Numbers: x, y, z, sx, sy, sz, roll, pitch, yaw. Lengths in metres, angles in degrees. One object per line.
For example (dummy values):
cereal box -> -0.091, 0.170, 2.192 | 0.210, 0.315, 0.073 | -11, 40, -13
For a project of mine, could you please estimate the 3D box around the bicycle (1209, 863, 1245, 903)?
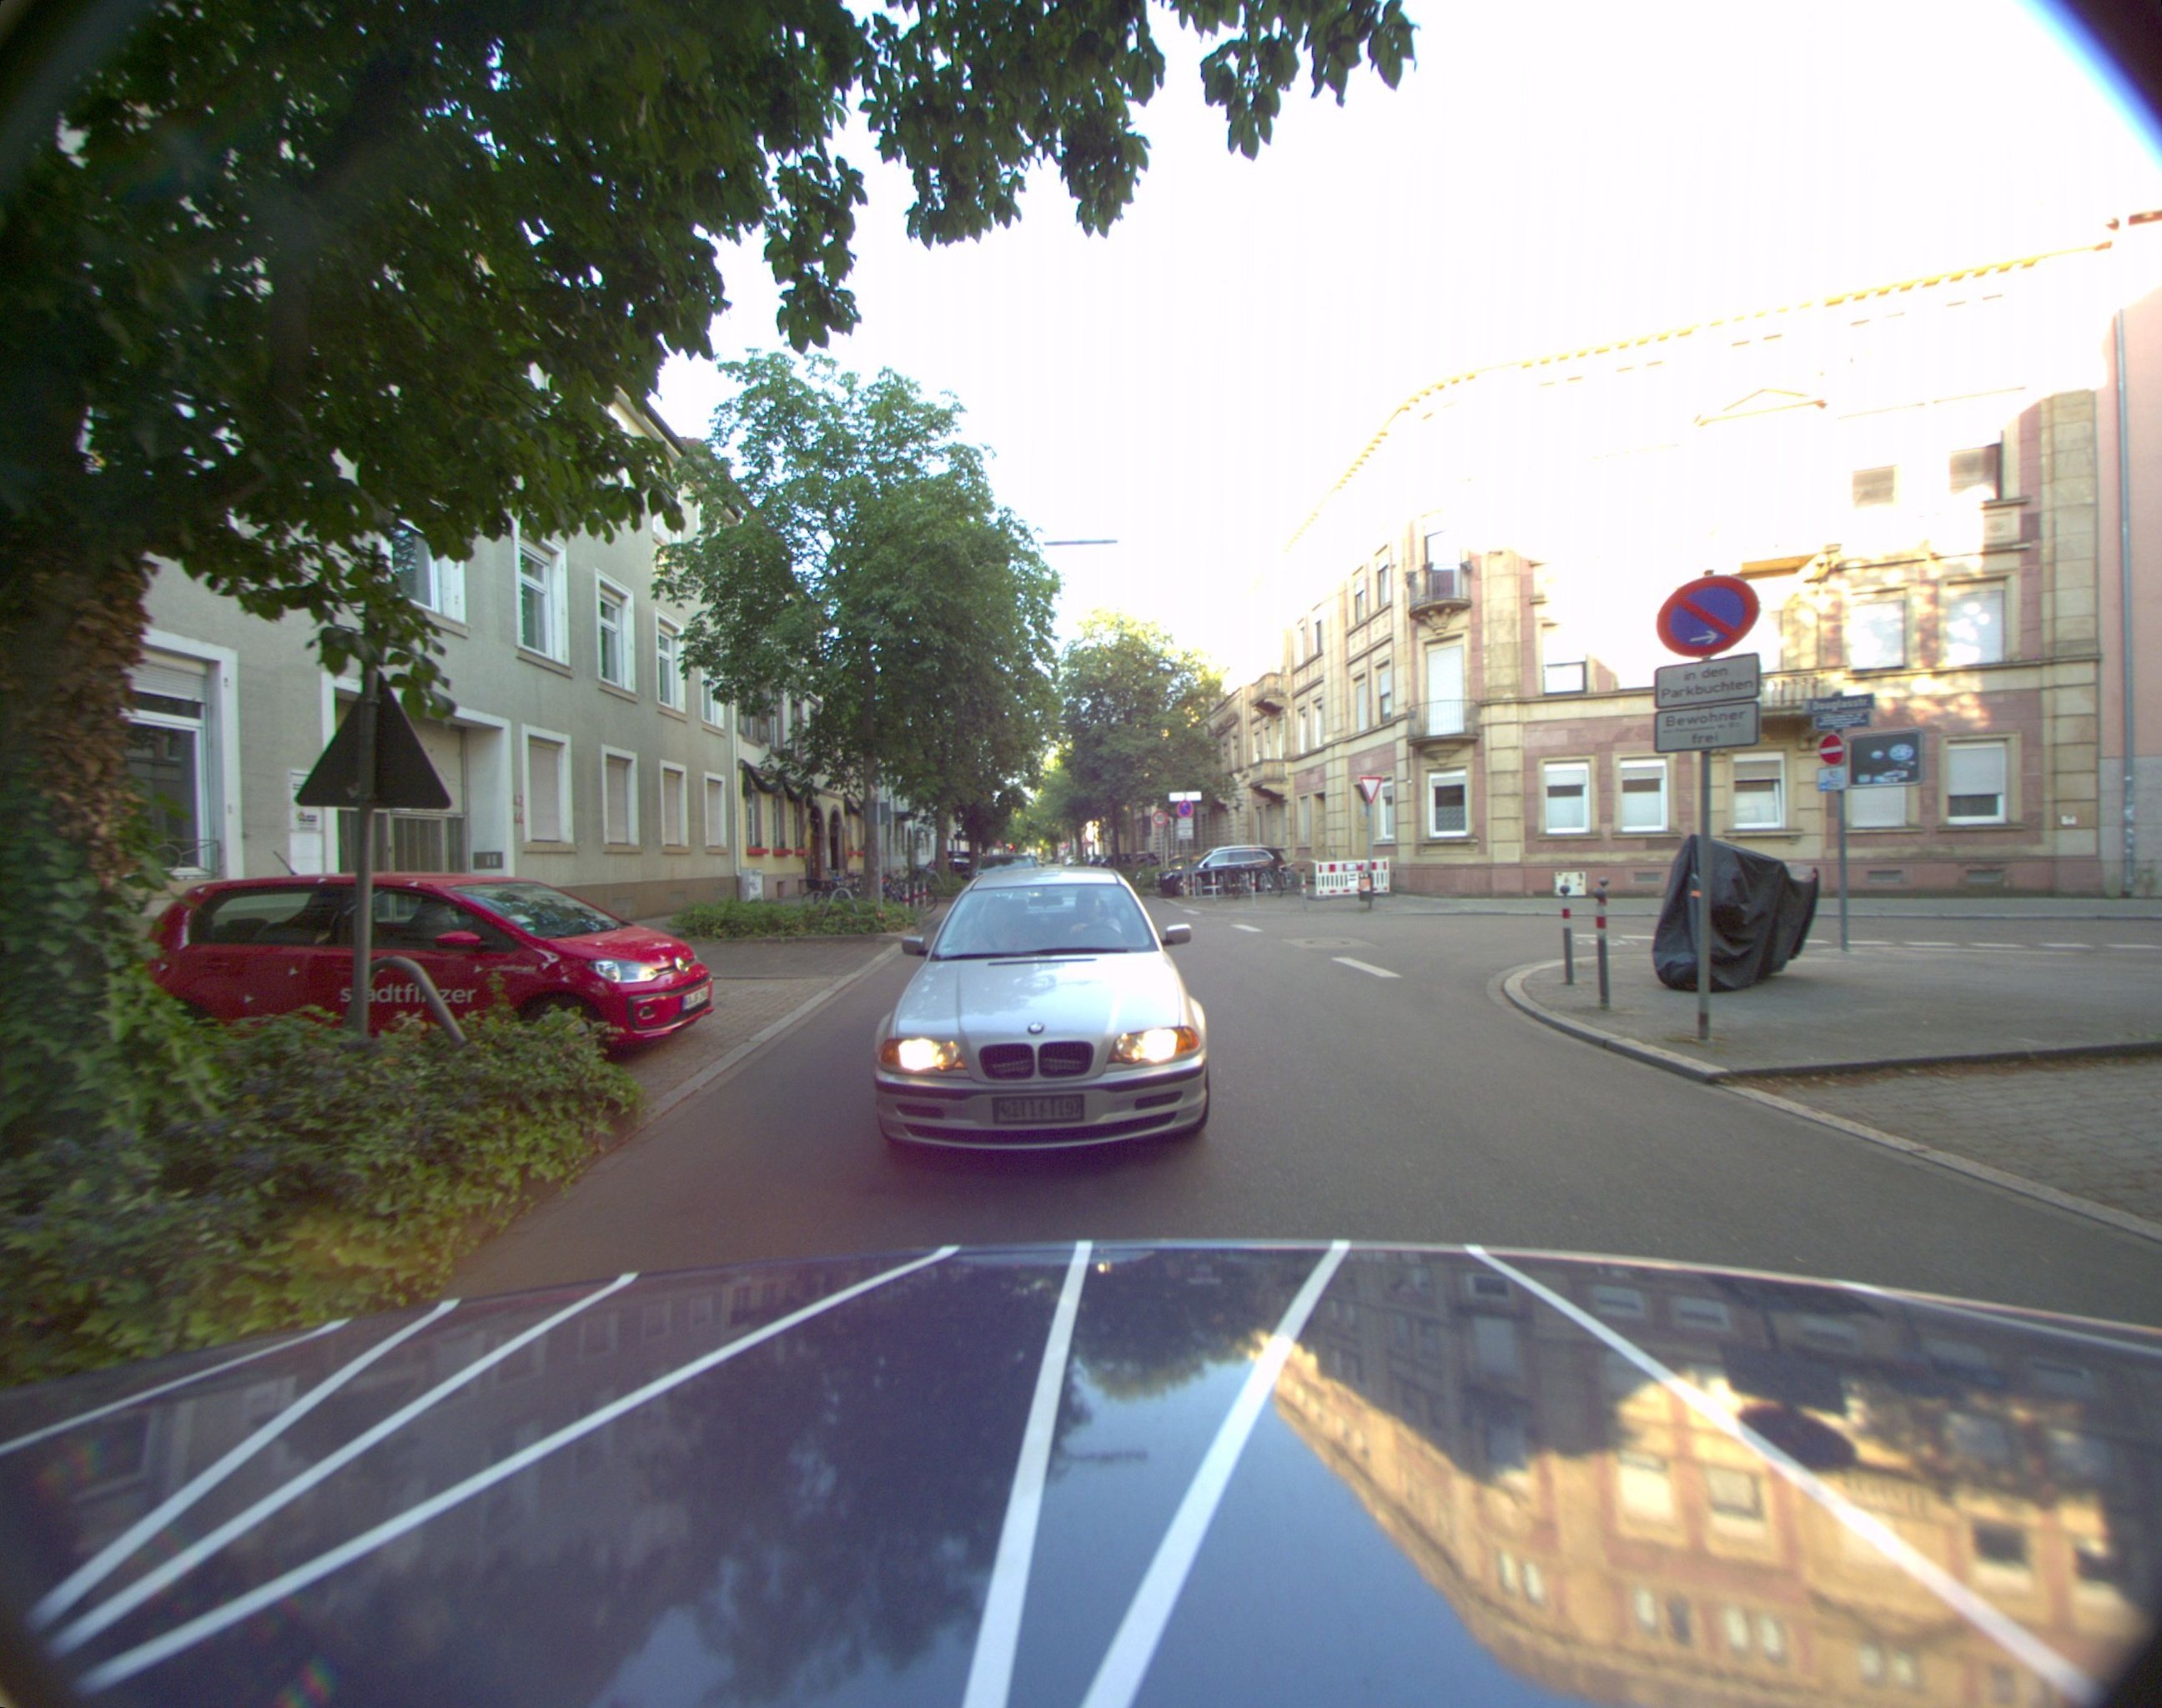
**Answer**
bicycle -> 4.561, 0.877, 23.871 | 0.562, 1.144, 2.039 | -1, 0, -4

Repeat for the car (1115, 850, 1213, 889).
car -> 3.704, 0.677, 34.334 | 4.243, 1.668, 1.742 | -1, 1, 1

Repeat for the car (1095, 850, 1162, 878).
car -> 3.142, 0.673, 50.659 | 4.244, 1.749, 1.741 | -1, 1, -3

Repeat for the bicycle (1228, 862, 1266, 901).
bicycle -> 5.202, 0.833, 23.918 | 0.562, 1.144, 2.039 | -1, 0, -4

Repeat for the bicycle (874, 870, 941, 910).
bicycle -> -5.539, 1.139, 24.348 | 2.029, 1.220, 0.535 | -1, 1, -9

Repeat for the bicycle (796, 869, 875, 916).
bicycle -> -6.777, 1.052, 21.050 | 2.030, 1.220, 0.535 | -1, 1, -14

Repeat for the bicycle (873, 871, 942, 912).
bicycle -> -5.327, 1.144, 23.470 | 2.029, 1.220, 0.535 | -1, 1, -9

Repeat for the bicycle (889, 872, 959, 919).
bicycle -> -4.324, 1.127, 20.913 | 1.849, 1.220, 0.535 | -1, 1, -14

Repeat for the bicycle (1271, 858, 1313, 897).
bicycle -> 6.616, 0.730, 23.960 | 0.562, 1.144, 2.038 | -2, 0, -6

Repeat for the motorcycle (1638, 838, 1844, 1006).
motorcycle -> 6.765, 0.611, 7.760 | 2.286, 1.496, 0.816 | -1, 1, -28

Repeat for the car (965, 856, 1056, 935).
car -> -1.511, 0.849, 17.549 | 1.806, 1.543, 3.999 | -1, 0, -2

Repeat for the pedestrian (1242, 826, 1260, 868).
pedestrian -> 7.348, -0.291, 32.808 | 0.573, 1.797, 0.651 | -1, 1, -2

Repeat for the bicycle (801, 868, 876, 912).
bicycle -> -7.059, 1.046, 22.206 | 2.029, 1.220, 0.535 | -1, 1, -11

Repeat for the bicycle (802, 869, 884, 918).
bicycle -> -6.342, 1.046, 20.332 | 2.030, 1.220, 0.535 | -1, 1, -14

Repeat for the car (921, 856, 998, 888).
car -> -7.044, 1.027, 44.294 | 4.245, 1.729, 1.741 | -1, 1, -4

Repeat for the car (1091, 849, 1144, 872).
car -> 3.022, 0.519, 63.142 | 4.244, 1.749, 1.741 | -1, 1, -3

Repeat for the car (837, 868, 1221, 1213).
car -> -0.226, 0.889, 5.670 | 1.711, 1.433, 4.435 | -1, 0, 0

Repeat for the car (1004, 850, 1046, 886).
car -> -2.584, 0.608, 35.877 | 1.806, 1.543, 3.999 | -1, 0, -3

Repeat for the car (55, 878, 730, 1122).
car -> -4.965, 0.990, 5.968 | 3.621, 1.468, 1.664 | -1, 1, -5

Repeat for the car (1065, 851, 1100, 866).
car -> 0.187, 0.528, 94.944 | 4.244, 1.749, 1.741 | -1, 1, -3

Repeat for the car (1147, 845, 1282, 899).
car -> 4.645, 0.607, 26.885 | 4.422, 1.771, 1.742 | -1, 1, -1

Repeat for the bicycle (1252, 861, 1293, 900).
bicycle -> 5.996, 0.810, 23.932 | 0.562, 1.144, 2.038 | -2, 0, -6

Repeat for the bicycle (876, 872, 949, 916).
bicycle -> -4.905, 1.147, 22.174 | 2.029, 1.220, 0.535 | -1, 1, -9
